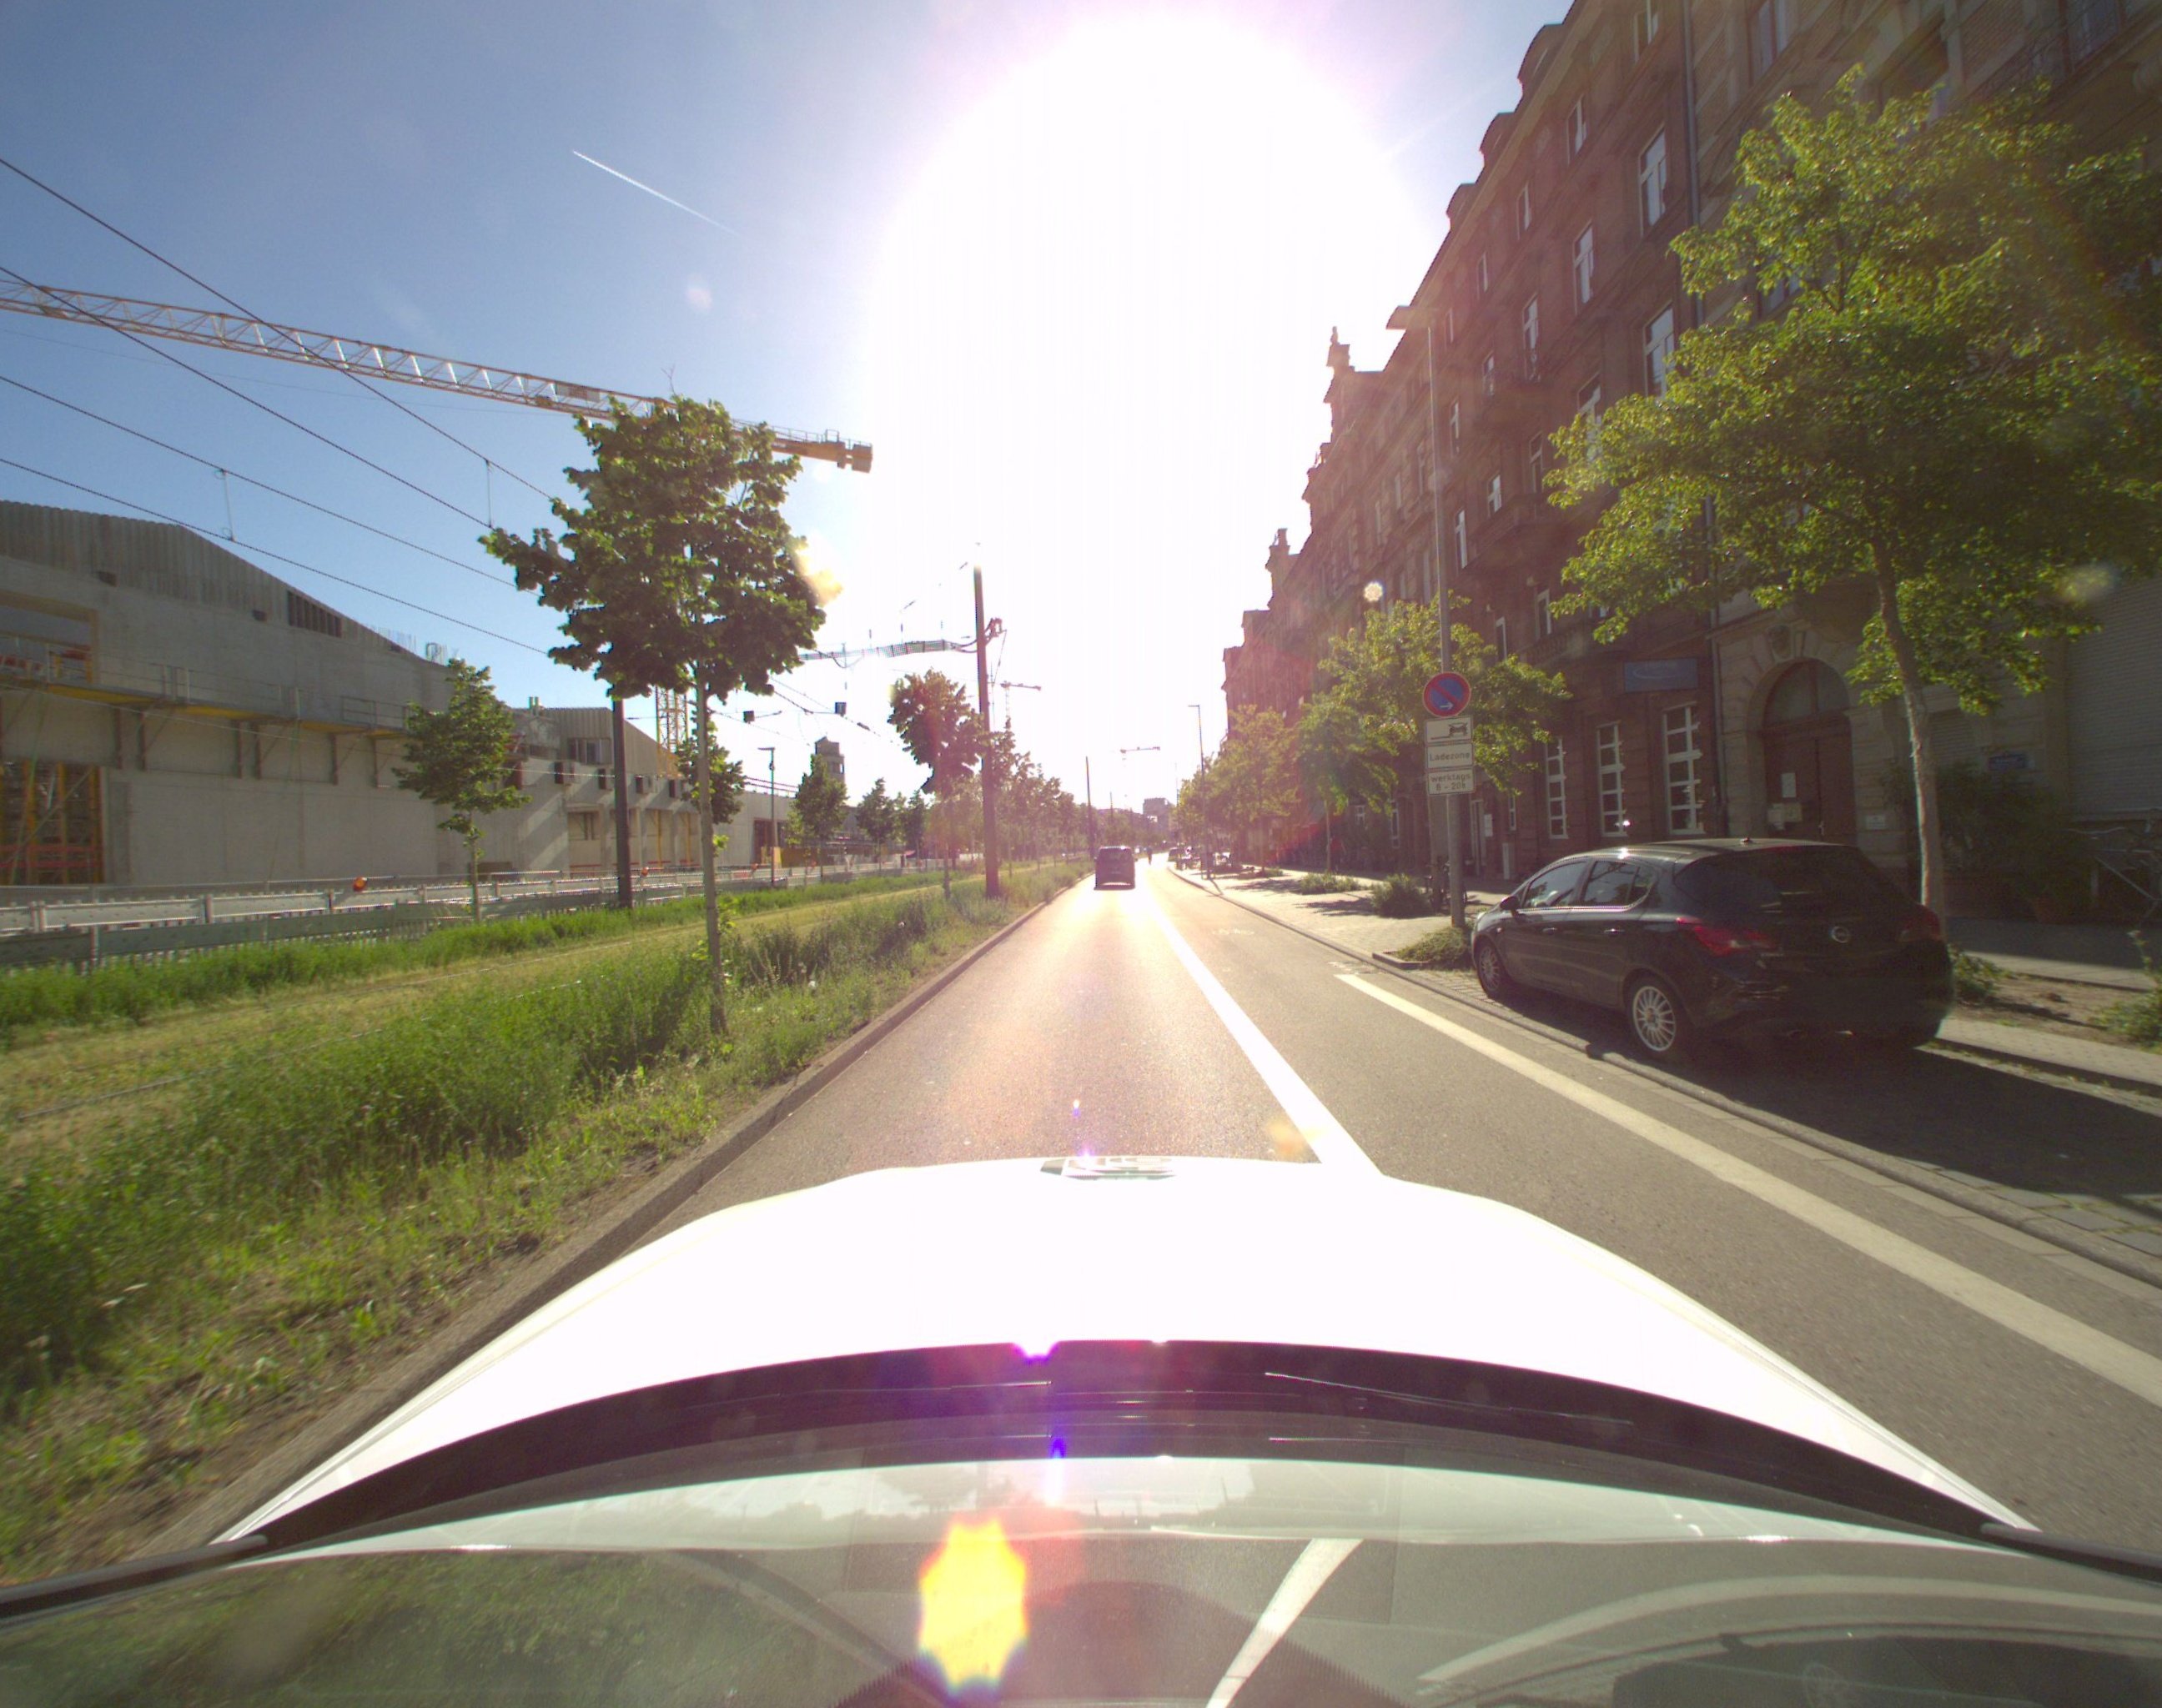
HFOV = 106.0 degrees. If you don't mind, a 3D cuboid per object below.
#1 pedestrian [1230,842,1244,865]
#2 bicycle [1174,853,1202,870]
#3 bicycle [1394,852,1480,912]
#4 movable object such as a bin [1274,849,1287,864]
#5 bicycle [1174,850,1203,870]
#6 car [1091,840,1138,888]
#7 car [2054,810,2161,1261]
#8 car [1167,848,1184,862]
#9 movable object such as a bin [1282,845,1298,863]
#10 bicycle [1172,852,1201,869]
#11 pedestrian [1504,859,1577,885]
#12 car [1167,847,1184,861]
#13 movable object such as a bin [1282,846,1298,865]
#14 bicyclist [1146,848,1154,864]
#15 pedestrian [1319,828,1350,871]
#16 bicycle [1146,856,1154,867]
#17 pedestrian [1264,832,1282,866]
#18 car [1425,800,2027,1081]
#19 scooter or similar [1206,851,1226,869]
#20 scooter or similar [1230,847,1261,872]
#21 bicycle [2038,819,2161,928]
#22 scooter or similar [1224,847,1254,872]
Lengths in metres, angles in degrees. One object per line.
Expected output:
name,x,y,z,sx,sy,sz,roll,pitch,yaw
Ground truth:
pedestrian,12.267,-0.043,64.086,0.841,1.742,0.887,-3,-1,3
bicycle,7.778,0.524,59.221,1.821,1.078,0.664,-5,-1,-4
bicycle,7.336,0.559,16.899,0.649,1.120,2.169,-4,-1,-3
movable object such as a bin,12.893,0.162,52.607,0.602,0.916,0.650,-2,0,-2
bicycle,7.583,0.450,57.691,1.875,1.233,0.499,-5,-1,-4
car,1.478,0.444,37.248,1.987,2.014,4.000,-1,-1,1
car,4.431,0.539,0.358,1.944,1.495,5.108,-4,0,2
car,11.636,0.083,99.792,1.978,1.638,4.198,-2,-1,7
movable object such as a bin,12.840,-0.005,50.078,0.723,1.098,0.747,-1,0,-3
bicycle,7.853,0.495,60.737,1.912,1.121,0.664,-6,-1,-4
pedestrian,11.685,0.442,20.787,0.770,0.553,2.008,-3,0,2
car,12.335,0.019,106.095,2.010,1.722,4.127,-2,-1,7
movable object such as a bin,12.627,0.095,49.315,0.723,1.098,0.747,-2,0,-3
bicyclist,6.839,0.206,81.022,0.680,1.584,0.840,-2,0,2
pedestrian,10.624,-0.178,34.182,0.992,1.731,0.866,-1,-1,1
bicycle,6.864,0.717,81.059,0.698,1.091,2.278,-2,0,2
pedestrian,11.826,-0.294,50.270,0.814,2.014,1.046,-1,-3,2
car,4.822,0.551,7.088,1.877,1.569,4.222,-5,-1,2
scooter or similar,9.058,0.386,54.795,1.214,1.106,0.784,-4,0,4
scooter or similar,8.880,0.308,44.047,1.469,1.216,0.601,-5,1,-2
bicycle,11.209,0.191,8.309,0.479,1.090,2.058,-4,0,2
scooter or similar,8.695,0.297,44.815,1.473,1.216,0.600,-5,1,-9
